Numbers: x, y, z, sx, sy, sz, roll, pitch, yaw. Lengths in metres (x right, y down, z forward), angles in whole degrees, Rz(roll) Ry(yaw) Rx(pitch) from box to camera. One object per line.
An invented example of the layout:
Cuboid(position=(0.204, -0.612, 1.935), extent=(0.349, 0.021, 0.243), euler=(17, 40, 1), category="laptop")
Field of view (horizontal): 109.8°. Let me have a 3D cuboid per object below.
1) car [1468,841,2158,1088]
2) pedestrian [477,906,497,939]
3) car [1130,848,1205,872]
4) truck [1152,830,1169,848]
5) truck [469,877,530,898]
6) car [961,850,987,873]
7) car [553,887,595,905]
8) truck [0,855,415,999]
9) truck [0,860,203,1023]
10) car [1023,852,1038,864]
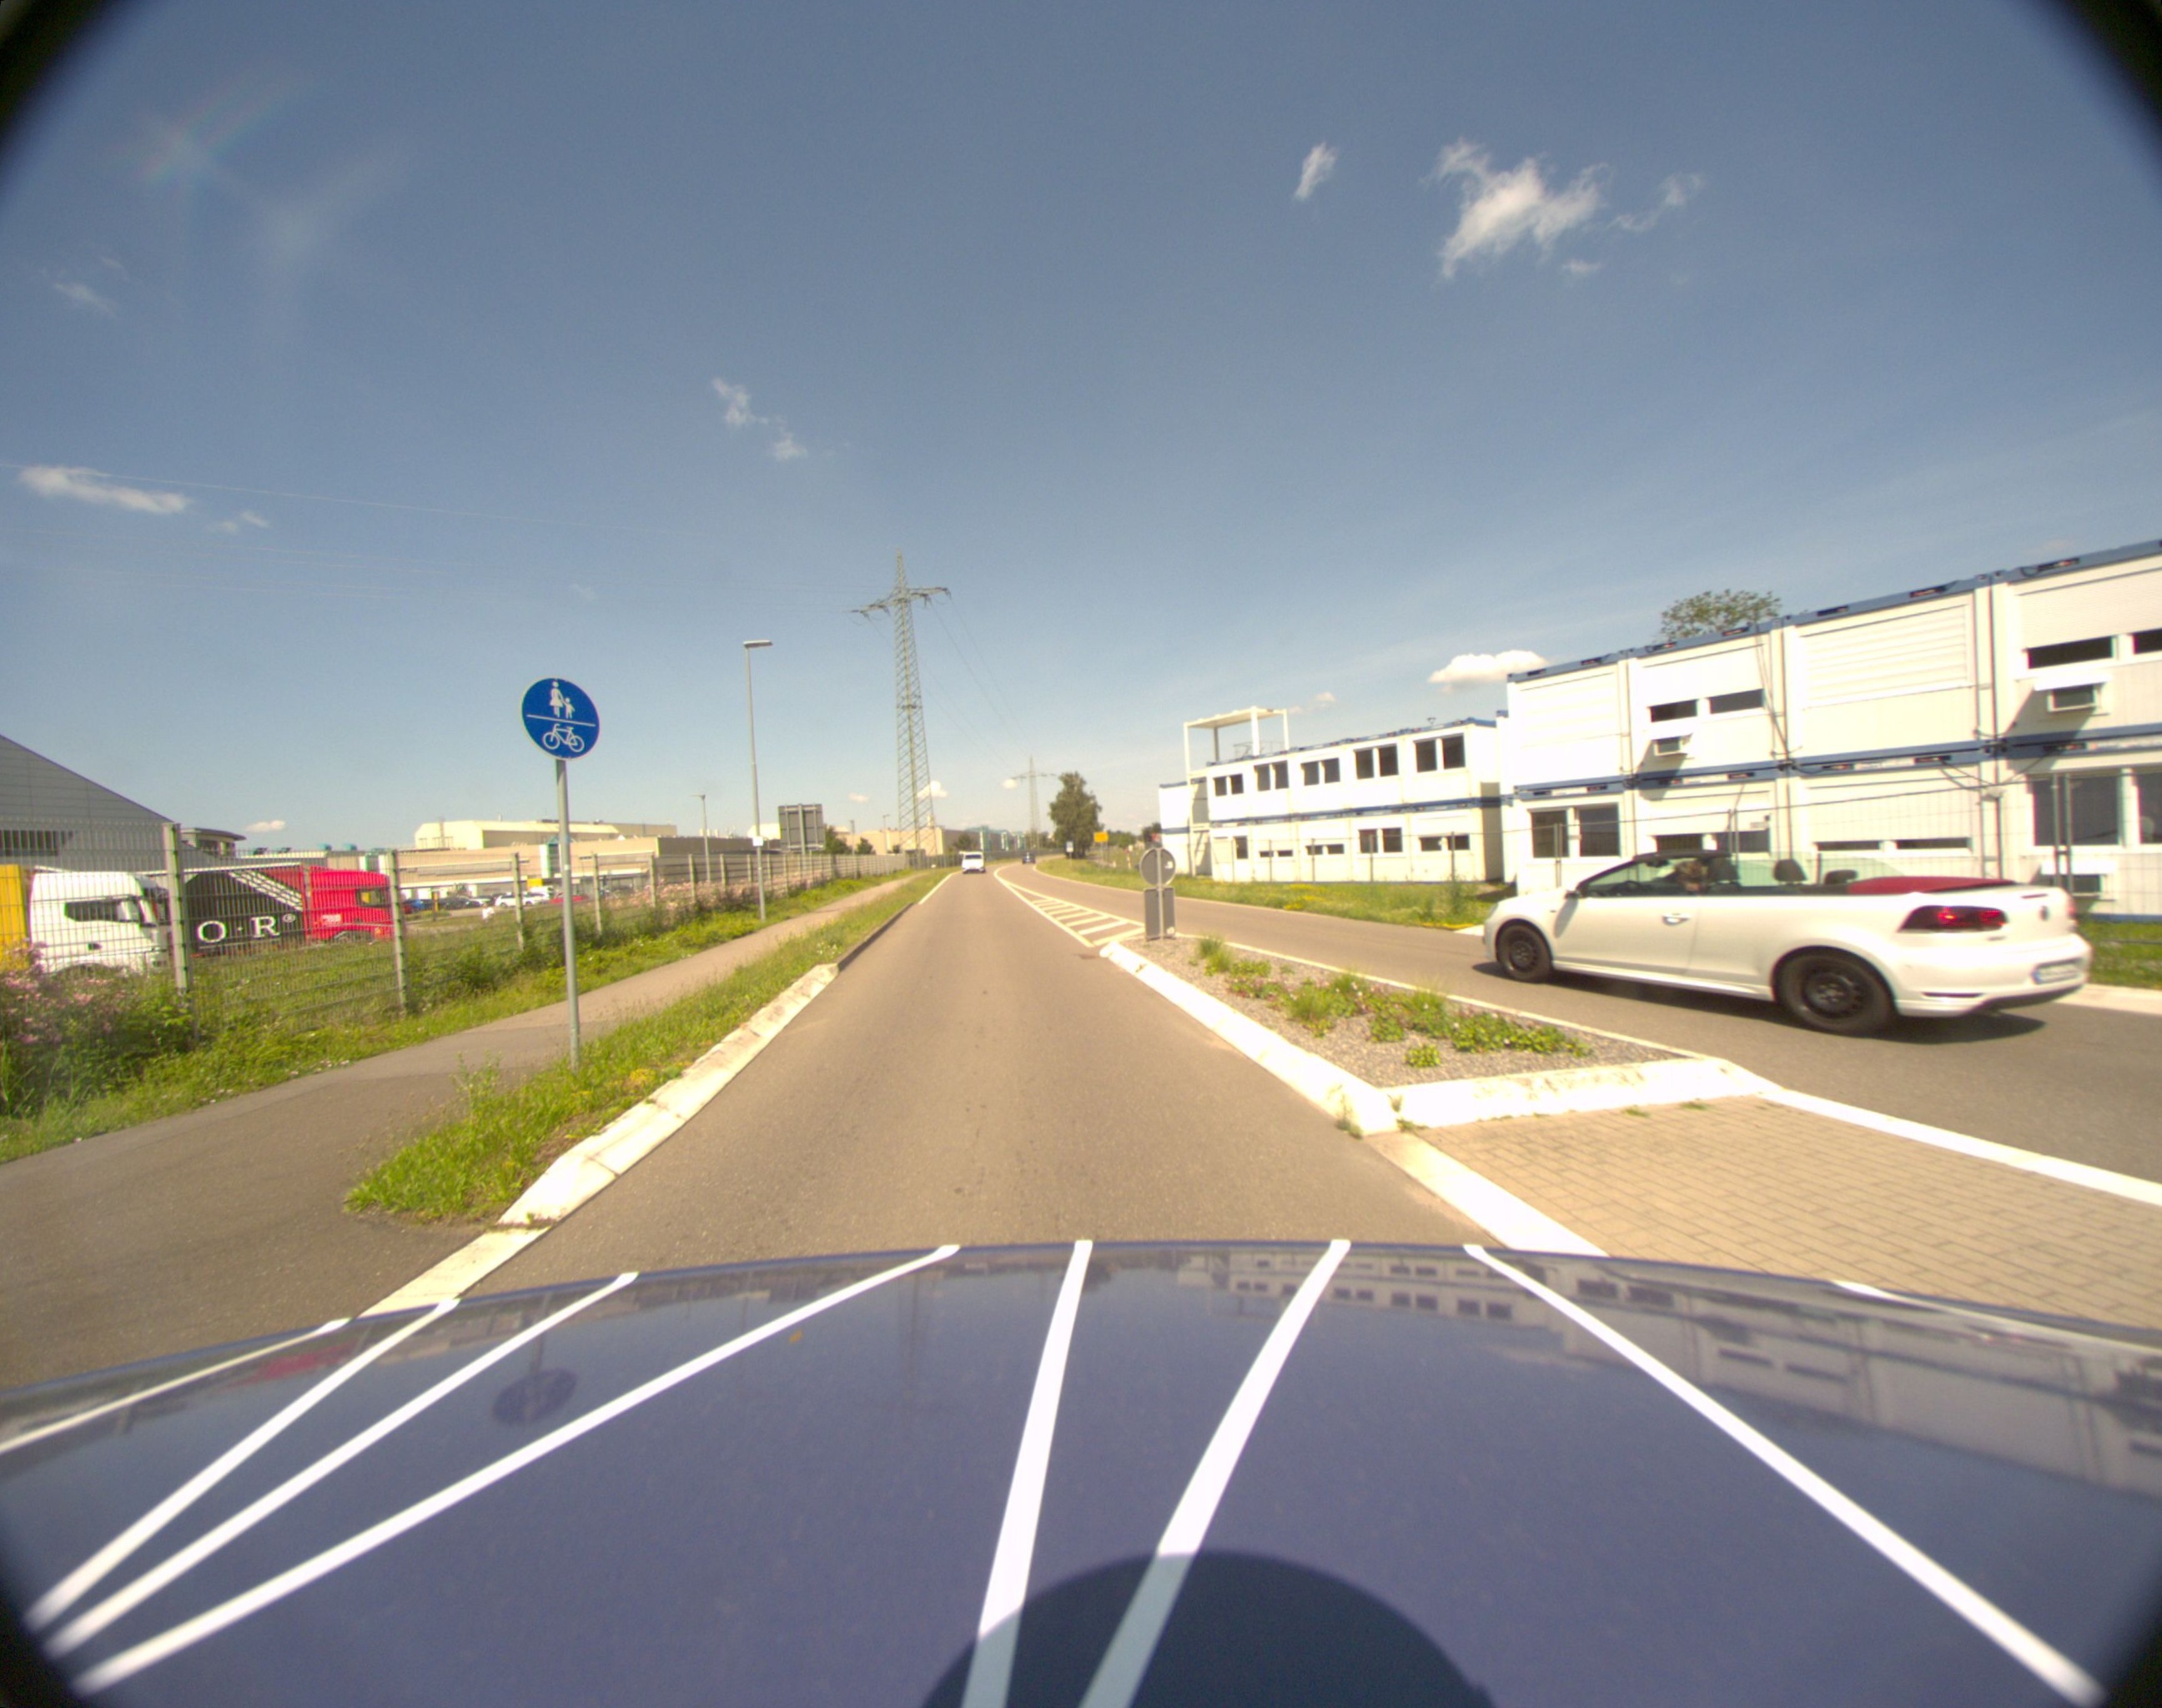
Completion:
Cuboid(position=(5.813, 0.700, 6.796), extent=(1.777, 1.420, 4.046), euler=(-3, 0, -19), category="car")
Cuboid(position=(-30.708, 3.524, 39.278), extent=(0.484, 1.643, 0.574), euler=(-4, 1, -4), category="pedestrian")
Cuboid(position=(6.226, 0.422, 54.774), extent=(4.988, 1.409, 1.997), euler=(-4, 1, -17), category="car")
Cuboid(position=(17.196, -3.354, 165.229), extent=(3.108, 3.624, 10.594), euler=(-2, 1, 4), category="truck")
Cuboid(position=(-112.173, 6.376, 146.907), extent=(1.998, 3.119, 11.852), euler=(-4, 1, 3), category="truck")
Cuboid(position=(-9.188, 0.592, 65.501), extent=(1.837, 1.796, 4.827), euler=(-2, 1, -5), category="car")
Cuboid(position=(-50.785, 4.183, 76.165), extent=(3.151, 1.525, 1.455), euler=(-4, 1, -3), category="car")
Cuboid(position=(-32.555, 2.403, 28.623), extent=(10.993, 4.232, 3.020), euler=(-3, 2, -41), category="truck")
Cuboid(position=(-31.377, 2.505, 19.548), extent=(10.993, 4.149, 2.815), euler=(-3, 2, -40), category="truck")
Cuboid(position=(-7.112, 0.510, 107.139), extent=(1.707, 1.473, 3.999), euler=(-2, 1, 1), category="car")
